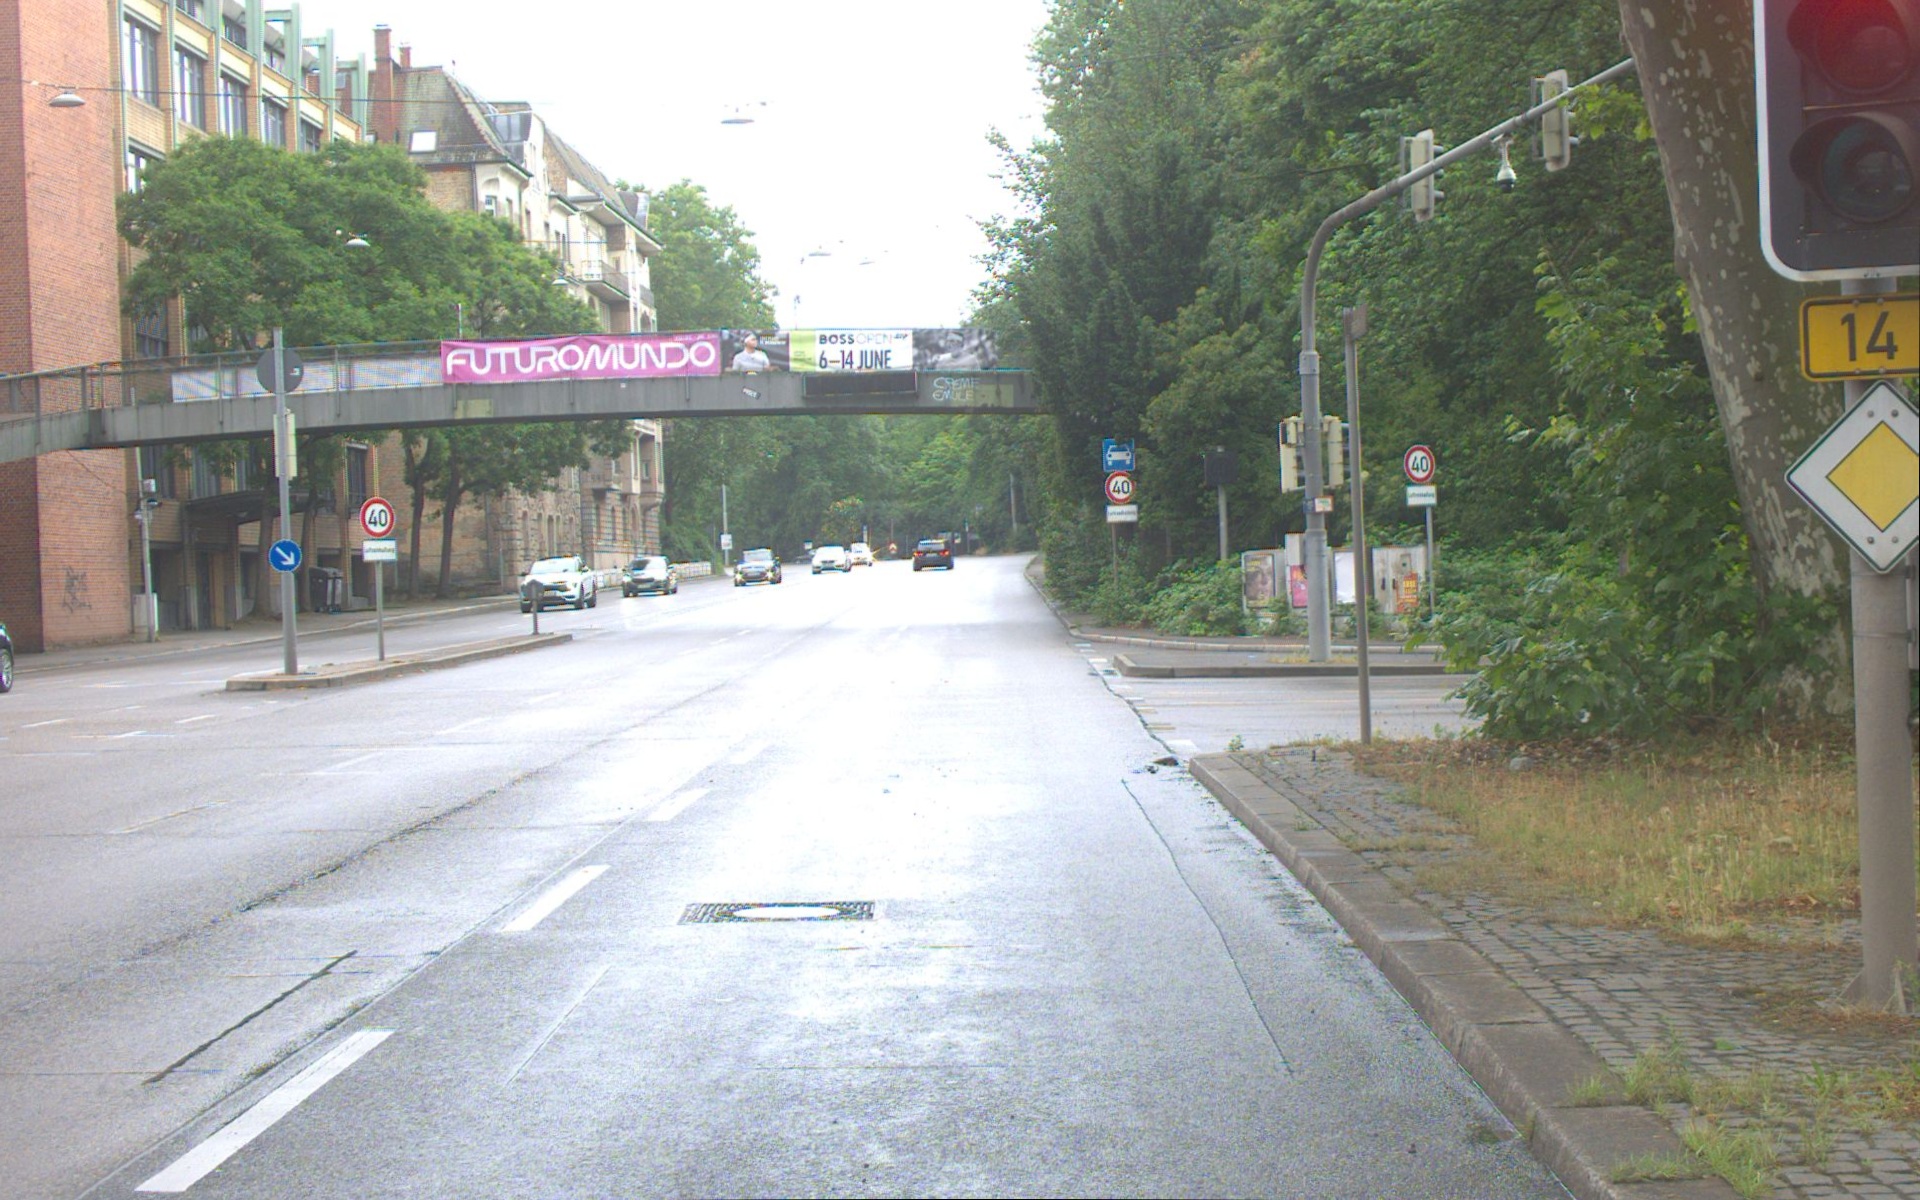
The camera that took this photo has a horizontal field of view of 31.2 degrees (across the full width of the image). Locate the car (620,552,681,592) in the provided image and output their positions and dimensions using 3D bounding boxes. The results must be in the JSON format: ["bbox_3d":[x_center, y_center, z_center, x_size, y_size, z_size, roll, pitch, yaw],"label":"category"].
[{"bbox_3d":[-11.619,-1.055,129.133,1.709,1.459,4.041,-2,0,3],"label":"car"}]

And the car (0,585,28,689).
[{"bbox_3d":[-13.921,0.540,45.717,1.686,1.414,4.214,-2,0,3],"label":"car"}]

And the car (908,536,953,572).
[{"bbox_3d":[-1.420,-2.177,163.499,2.004,1.638,4.376,-2,1,-2],"label":"car"}]

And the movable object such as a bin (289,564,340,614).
[{"bbox_3d":[-20.102,-0.352,107.106,1.282,1.513,1.273,-1,1,1],"label":"movable object such as a bin"}]

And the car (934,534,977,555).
[{"bbox_3d":[-0.298,-3.990,245.943,1.842,1.448,3.778,1,1,-21],"label":"car"}]

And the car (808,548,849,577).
[{"bbox_3d":[-6.732,-1.921,176.152,1.830,1.389,4.405,-3,0,1],"label":"car"}]

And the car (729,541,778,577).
[{"bbox_3d":[-8.468,-1.674,141.006,1.683,1.431,3.862,-2,0,1],"label":"car"}]

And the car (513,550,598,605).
[{"bbox_3d":[-12.328,-0.697,105.019,1.890,1.604,4.456,-1,0,2],"label":"car"}]

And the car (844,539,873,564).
[{"bbox_3d":[-6.577,-3.124,222.839,1.600,1.494,3.711,-3,0,1],"label":"car"}]
